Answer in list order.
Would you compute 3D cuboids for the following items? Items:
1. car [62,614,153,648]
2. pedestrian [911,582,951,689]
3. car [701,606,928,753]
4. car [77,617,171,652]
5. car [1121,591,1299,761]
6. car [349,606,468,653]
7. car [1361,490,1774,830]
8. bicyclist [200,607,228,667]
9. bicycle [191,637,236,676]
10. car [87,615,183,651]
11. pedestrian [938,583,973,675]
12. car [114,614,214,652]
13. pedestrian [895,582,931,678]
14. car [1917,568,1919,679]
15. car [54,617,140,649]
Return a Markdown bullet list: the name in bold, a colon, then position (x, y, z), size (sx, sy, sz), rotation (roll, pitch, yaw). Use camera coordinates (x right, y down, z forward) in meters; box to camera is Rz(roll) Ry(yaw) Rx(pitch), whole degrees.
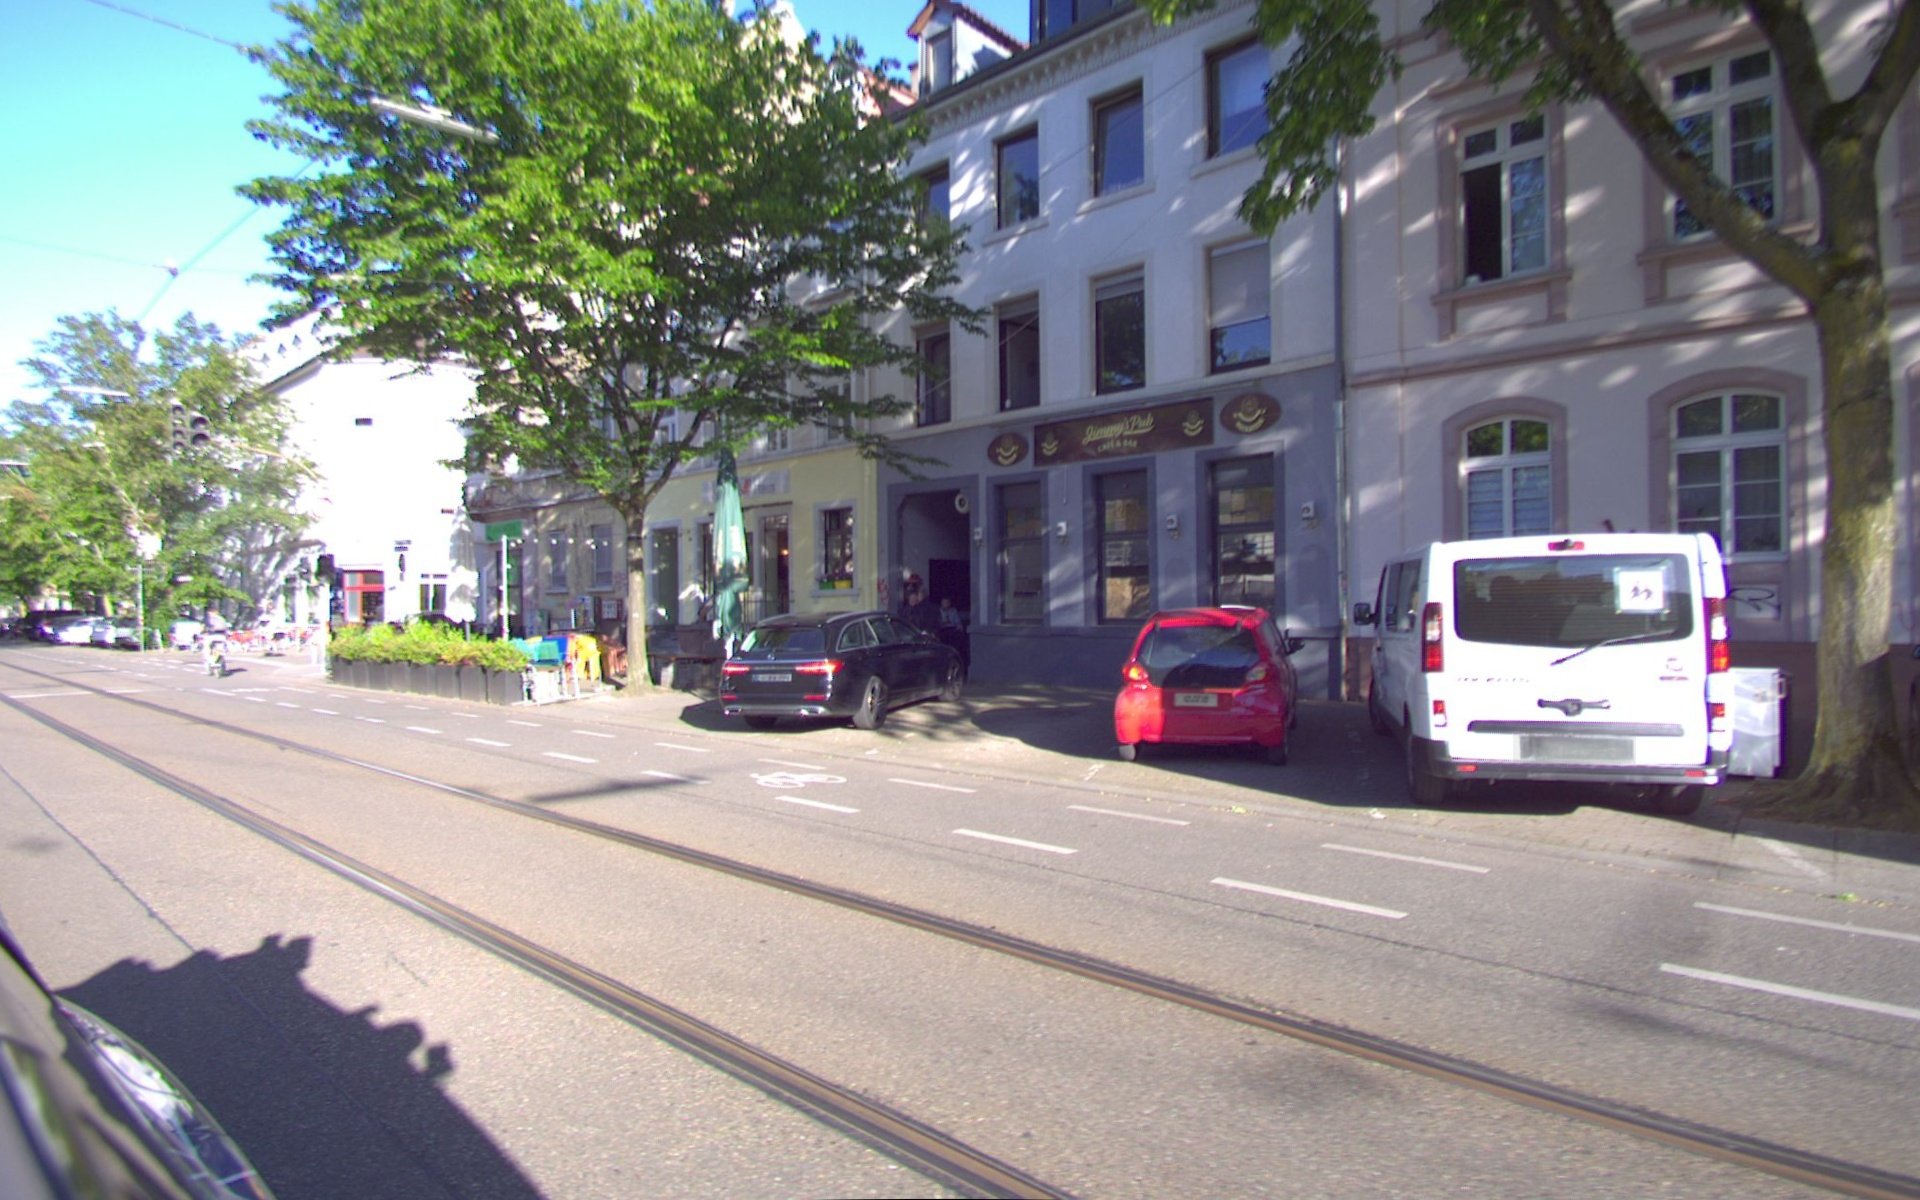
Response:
- **car**: position (-42.071, 1.500, 49.997), size (1.497, 1.464, 3.292), rotation (1, 2, 44)
- **pedestrian**: position (-0.528, 0.643, 18.380), size (0.591, 1.900, 0.448), rotation (-1, -2, 42)
- **car**: position (-1.741, 0.920, 13.500), size (1.763, 1.570, 3.985), rotation (-1, 1, 12)
- **car**: position (-40.066, 1.614, 48.542), size (1.497, 1.464, 3.292), rotation (1, 2, 44)
- **car**: position (2.768, 0.673, 10.743), size (1.485, 1.464, 3.318), rotation (-1, 1, 20)
- **car**: position (-22.049, 1.172, 40.503), size (3.934, 1.763, 2.005), rotation (1, -2, -36)
- **car**: position (4.685, 0.397, 8.719), size (2.059, 2.029, 4.908), rotation (-1, -1, 20)
- **bicyclist**: position (-18.655, 0.914, 25.314), size (0.590, 1.482, 0.414), rotation (-1, -2, 39)
- **bicycle**: position (-18.656, 1.400, 25.294), size (1.755, 0.943, 0.445), rotation (-1, -2, 38)
- **car**: position (-38.158, 1.489, 46.854), size (1.496, 1.464, 3.293), rotation (1, 2, 43)
- **pedestrian**: position (-0.090, 0.588, 20.403), size (0.509, 1.825, 0.482), rotation (-1, -2, 37)
- **car**: position (-34.172, 1.379, 43.458), size (3.288, 1.464, 1.498), rotation (-1, 2, -42)
- **pedestrian**: position (-0.916, 0.586, 19.587), size (0.509, 1.825, 0.482), rotation (-1, -2, 37)
- **car**: position (7.659, 0.541, 6.283), size (1.951, 1.588, 4.651), rotation (-2, 0, 37)
- **car**: position (-44.979, 1.709, 52.791), size (1.497, 1.464, 3.292), rotation (1, 2, 44)
